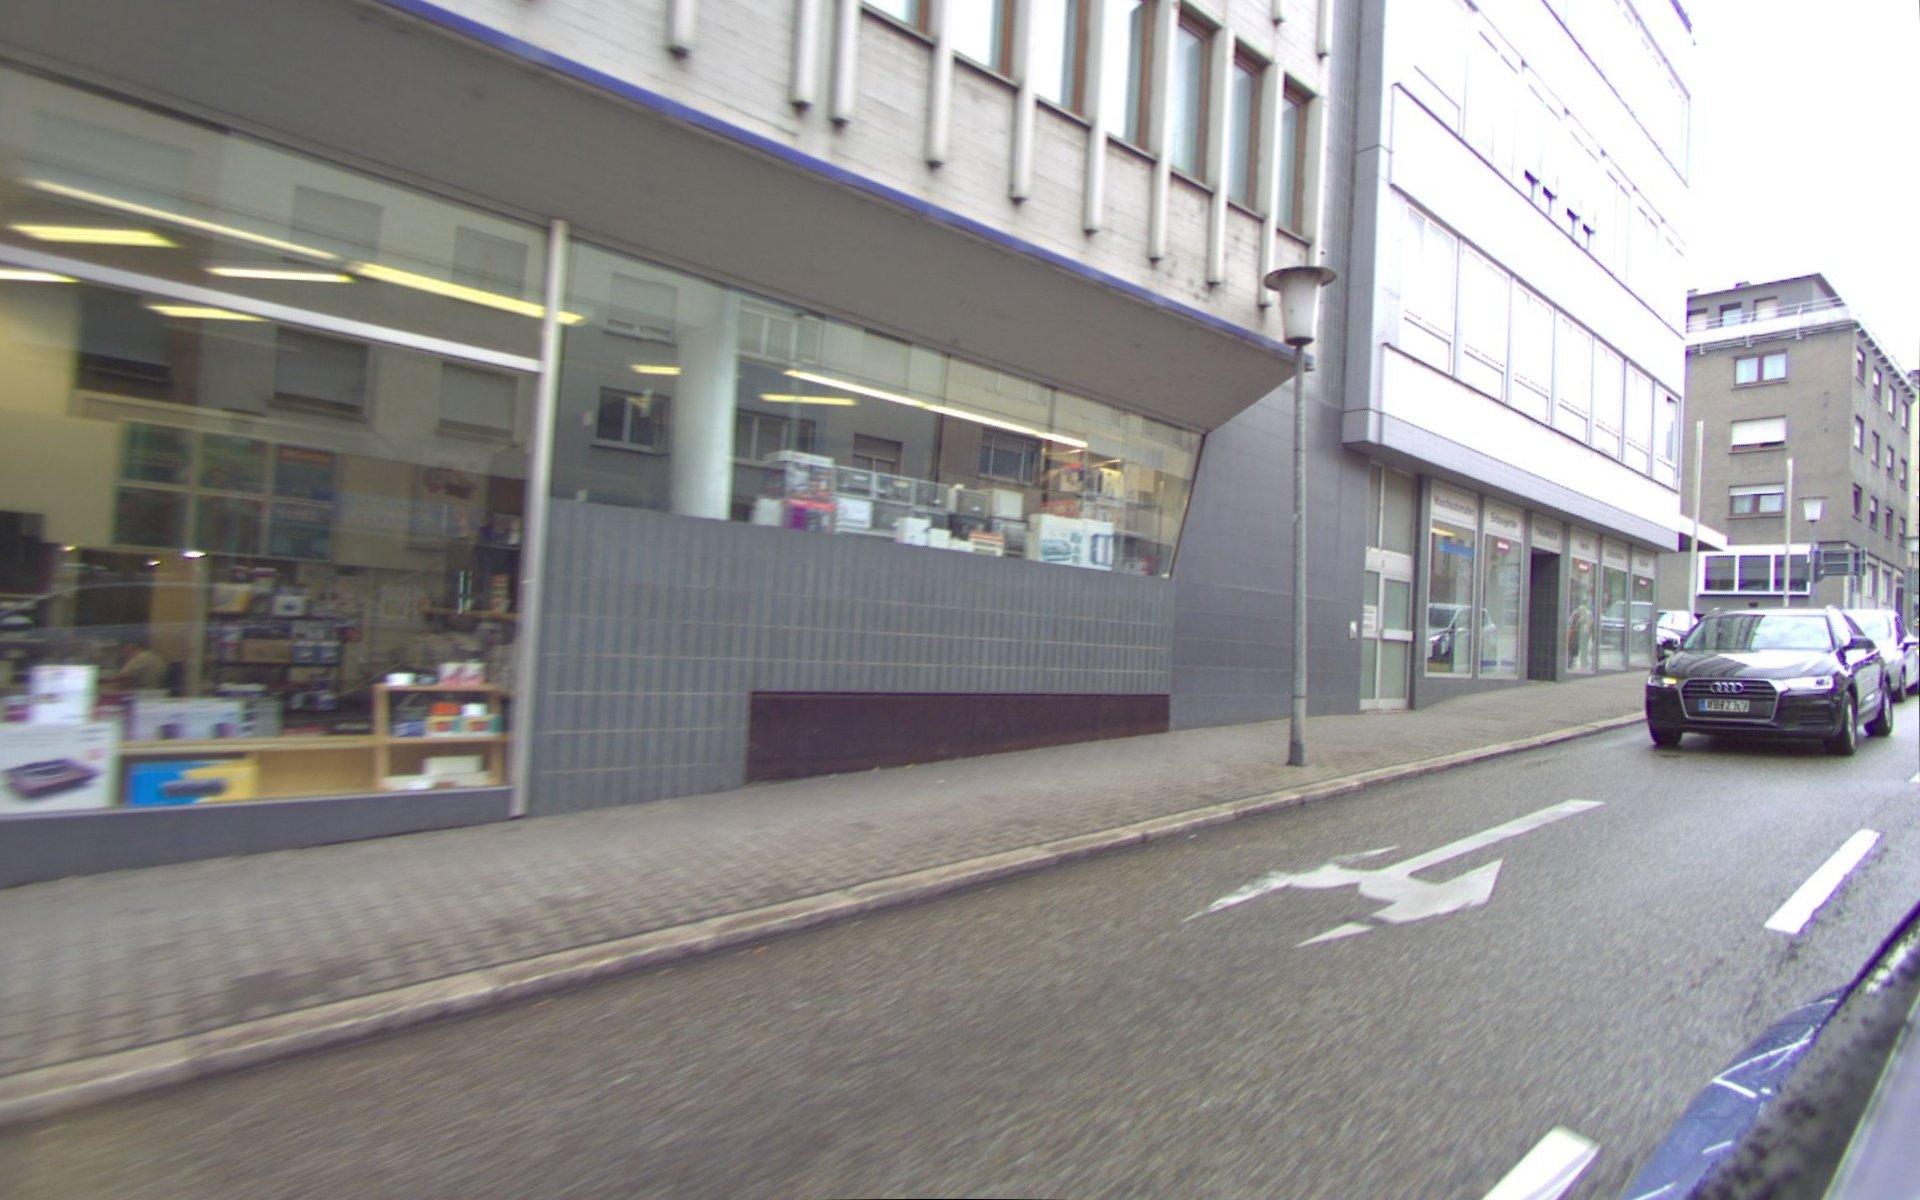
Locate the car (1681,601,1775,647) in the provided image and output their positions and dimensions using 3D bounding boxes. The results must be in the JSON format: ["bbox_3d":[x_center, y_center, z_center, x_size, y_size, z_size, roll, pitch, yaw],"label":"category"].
[{"bbox_3d":[27.433,0.808,36.107,4.358,1.531,1.792,1,0,-40],"label":"car"}]

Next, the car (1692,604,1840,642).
[{"bbox_3d":[34.218,0.978,43.081,1.963,1.523,4.533,1,-2,-36],"label":"car"}]

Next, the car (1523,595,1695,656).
[{"bbox_3d":[18.195,0.673,28.504,3.972,1.549,1.742,1,0,34],"label":"car"}]

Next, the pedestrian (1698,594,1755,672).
[{"bbox_3d":[16.306,0.684,21.529,0.876,1.570,0.766,0,3,-44],"label":"pedestrian"}]

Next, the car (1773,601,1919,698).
[{"bbox_3d":[16.238,0.850,18.327,4.182,1.561,1.827,1,-3,-44],"label":"car"}]

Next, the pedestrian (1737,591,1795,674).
[{"bbox_3d":[17.625,0.689,22.125,1.102,1.726,0.785,0,3,-44],"label":"pedestrian"}]

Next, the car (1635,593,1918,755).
[{"bbox_3d":[9.732,0.746,11.960,4.127,1.580,1.826,0,-2,-40],"label":"car"}]

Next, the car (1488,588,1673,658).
[{"bbox_3d":[16.398,0.564,26.893,3.973,1.468,1.778,5,2,33],"label":"car"}]

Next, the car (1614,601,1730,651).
[{"bbox_3d":[22.847,0.793,32.415,4.531,1.433,1.793,1,1,-38],"label":"car"}]

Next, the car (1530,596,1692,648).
[{"bbox_3d":[19.334,0.614,30.141,3.975,1.418,1.650,1,0,36],"label":"car"}]
